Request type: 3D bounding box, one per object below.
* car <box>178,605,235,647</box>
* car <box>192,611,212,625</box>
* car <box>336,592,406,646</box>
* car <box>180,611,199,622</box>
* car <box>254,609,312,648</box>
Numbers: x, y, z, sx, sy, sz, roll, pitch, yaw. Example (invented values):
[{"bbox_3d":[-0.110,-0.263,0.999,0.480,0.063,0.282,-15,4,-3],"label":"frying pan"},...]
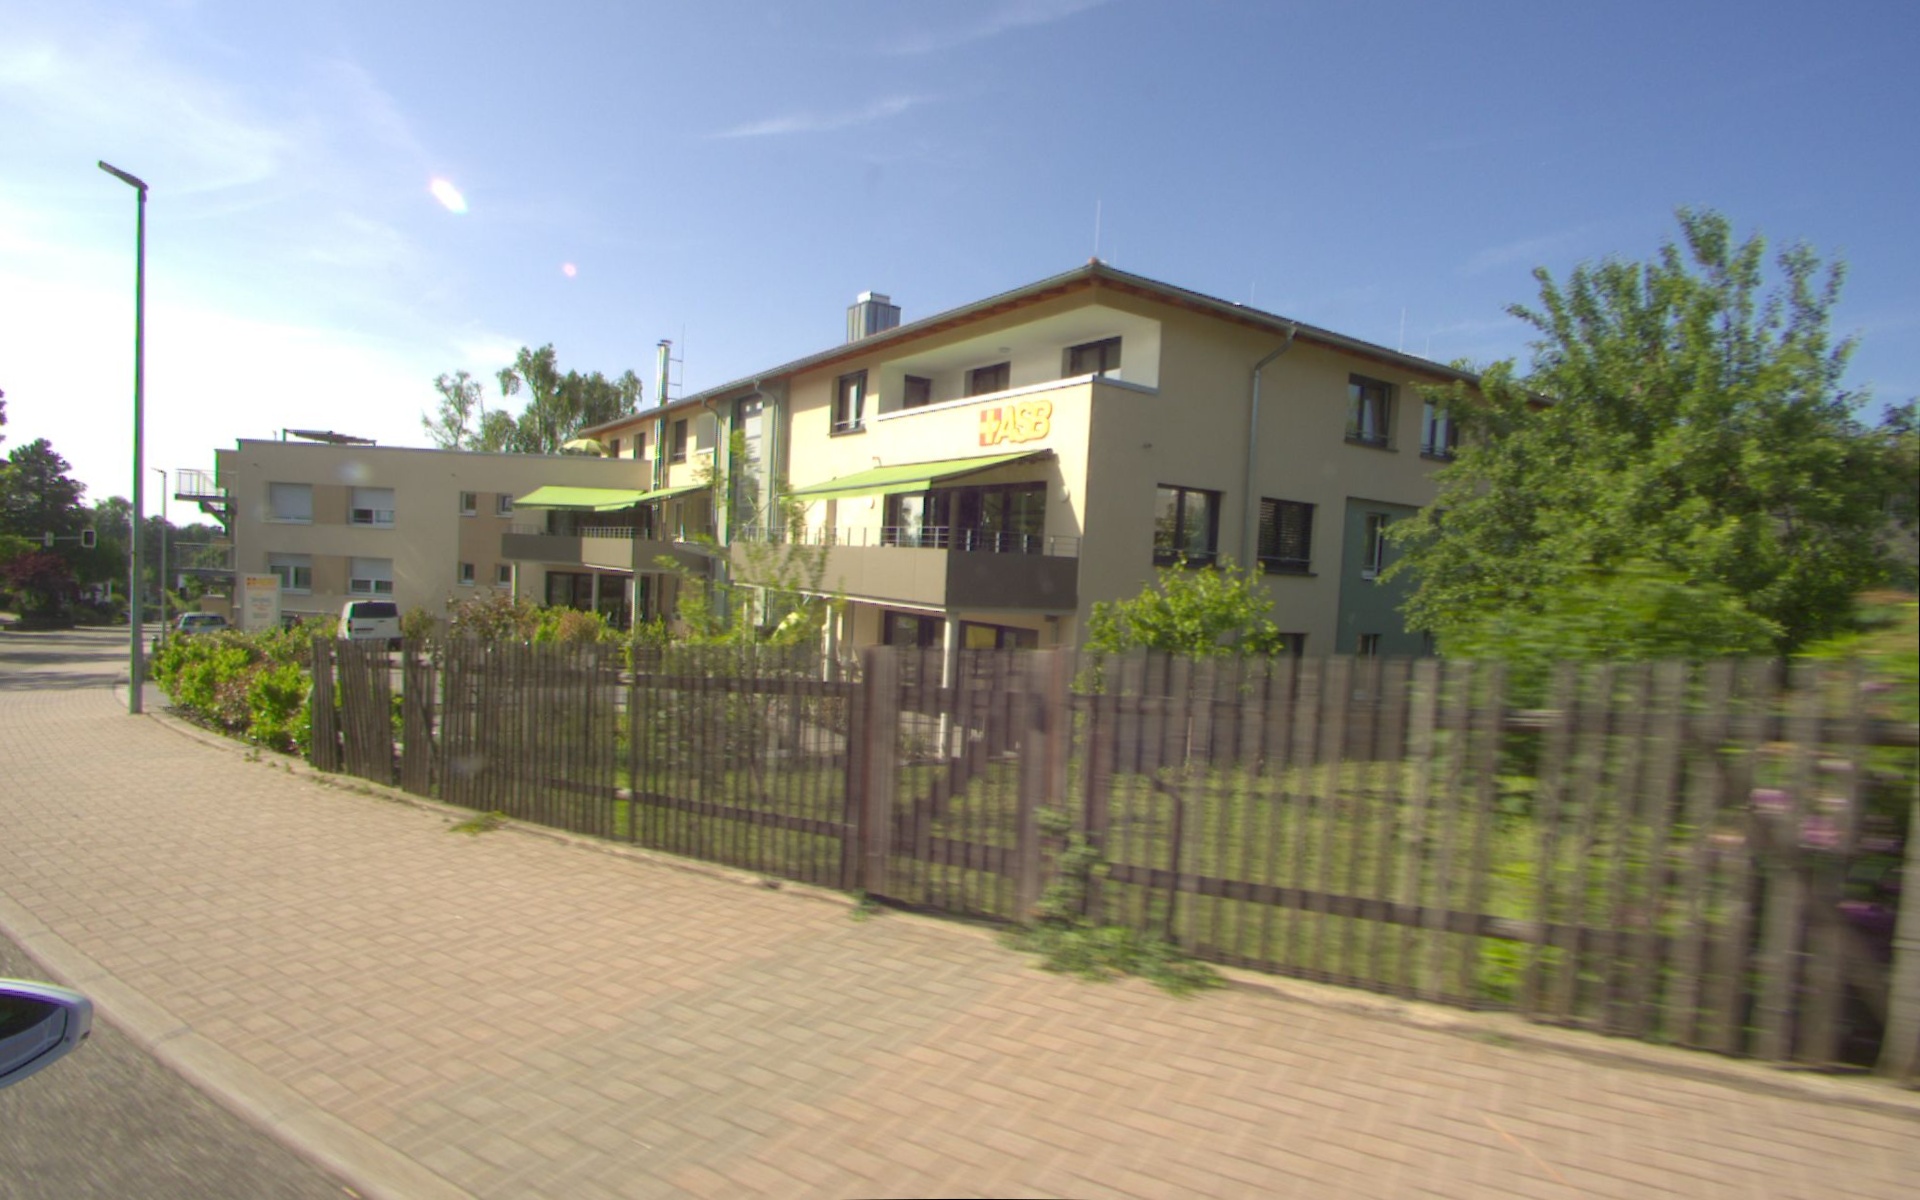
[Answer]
[{"bbox_3d":[-29.490,0.995,39.179,1.693,1.555,3.976,1,-1,-37],"label":"car"},{"bbox_3d":[-80.496,1.866,106.346,1.693,1.446,3.976,1,-1,-37],"label":"car"},{"bbox_3d":[-22.866,0.710,38.796,1.788,1.960,4.699,1,-1,-37],"label":"car"},{"bbox_3d":[-102.820,2.150,133.656,1.691,1.446,3.981,1,-1,-33],"label":"car"},{"bbox_3d":[-27.032,1.106,39.918,1.693,1.446,3.976,1,-1,-37],"label":"car"}]
